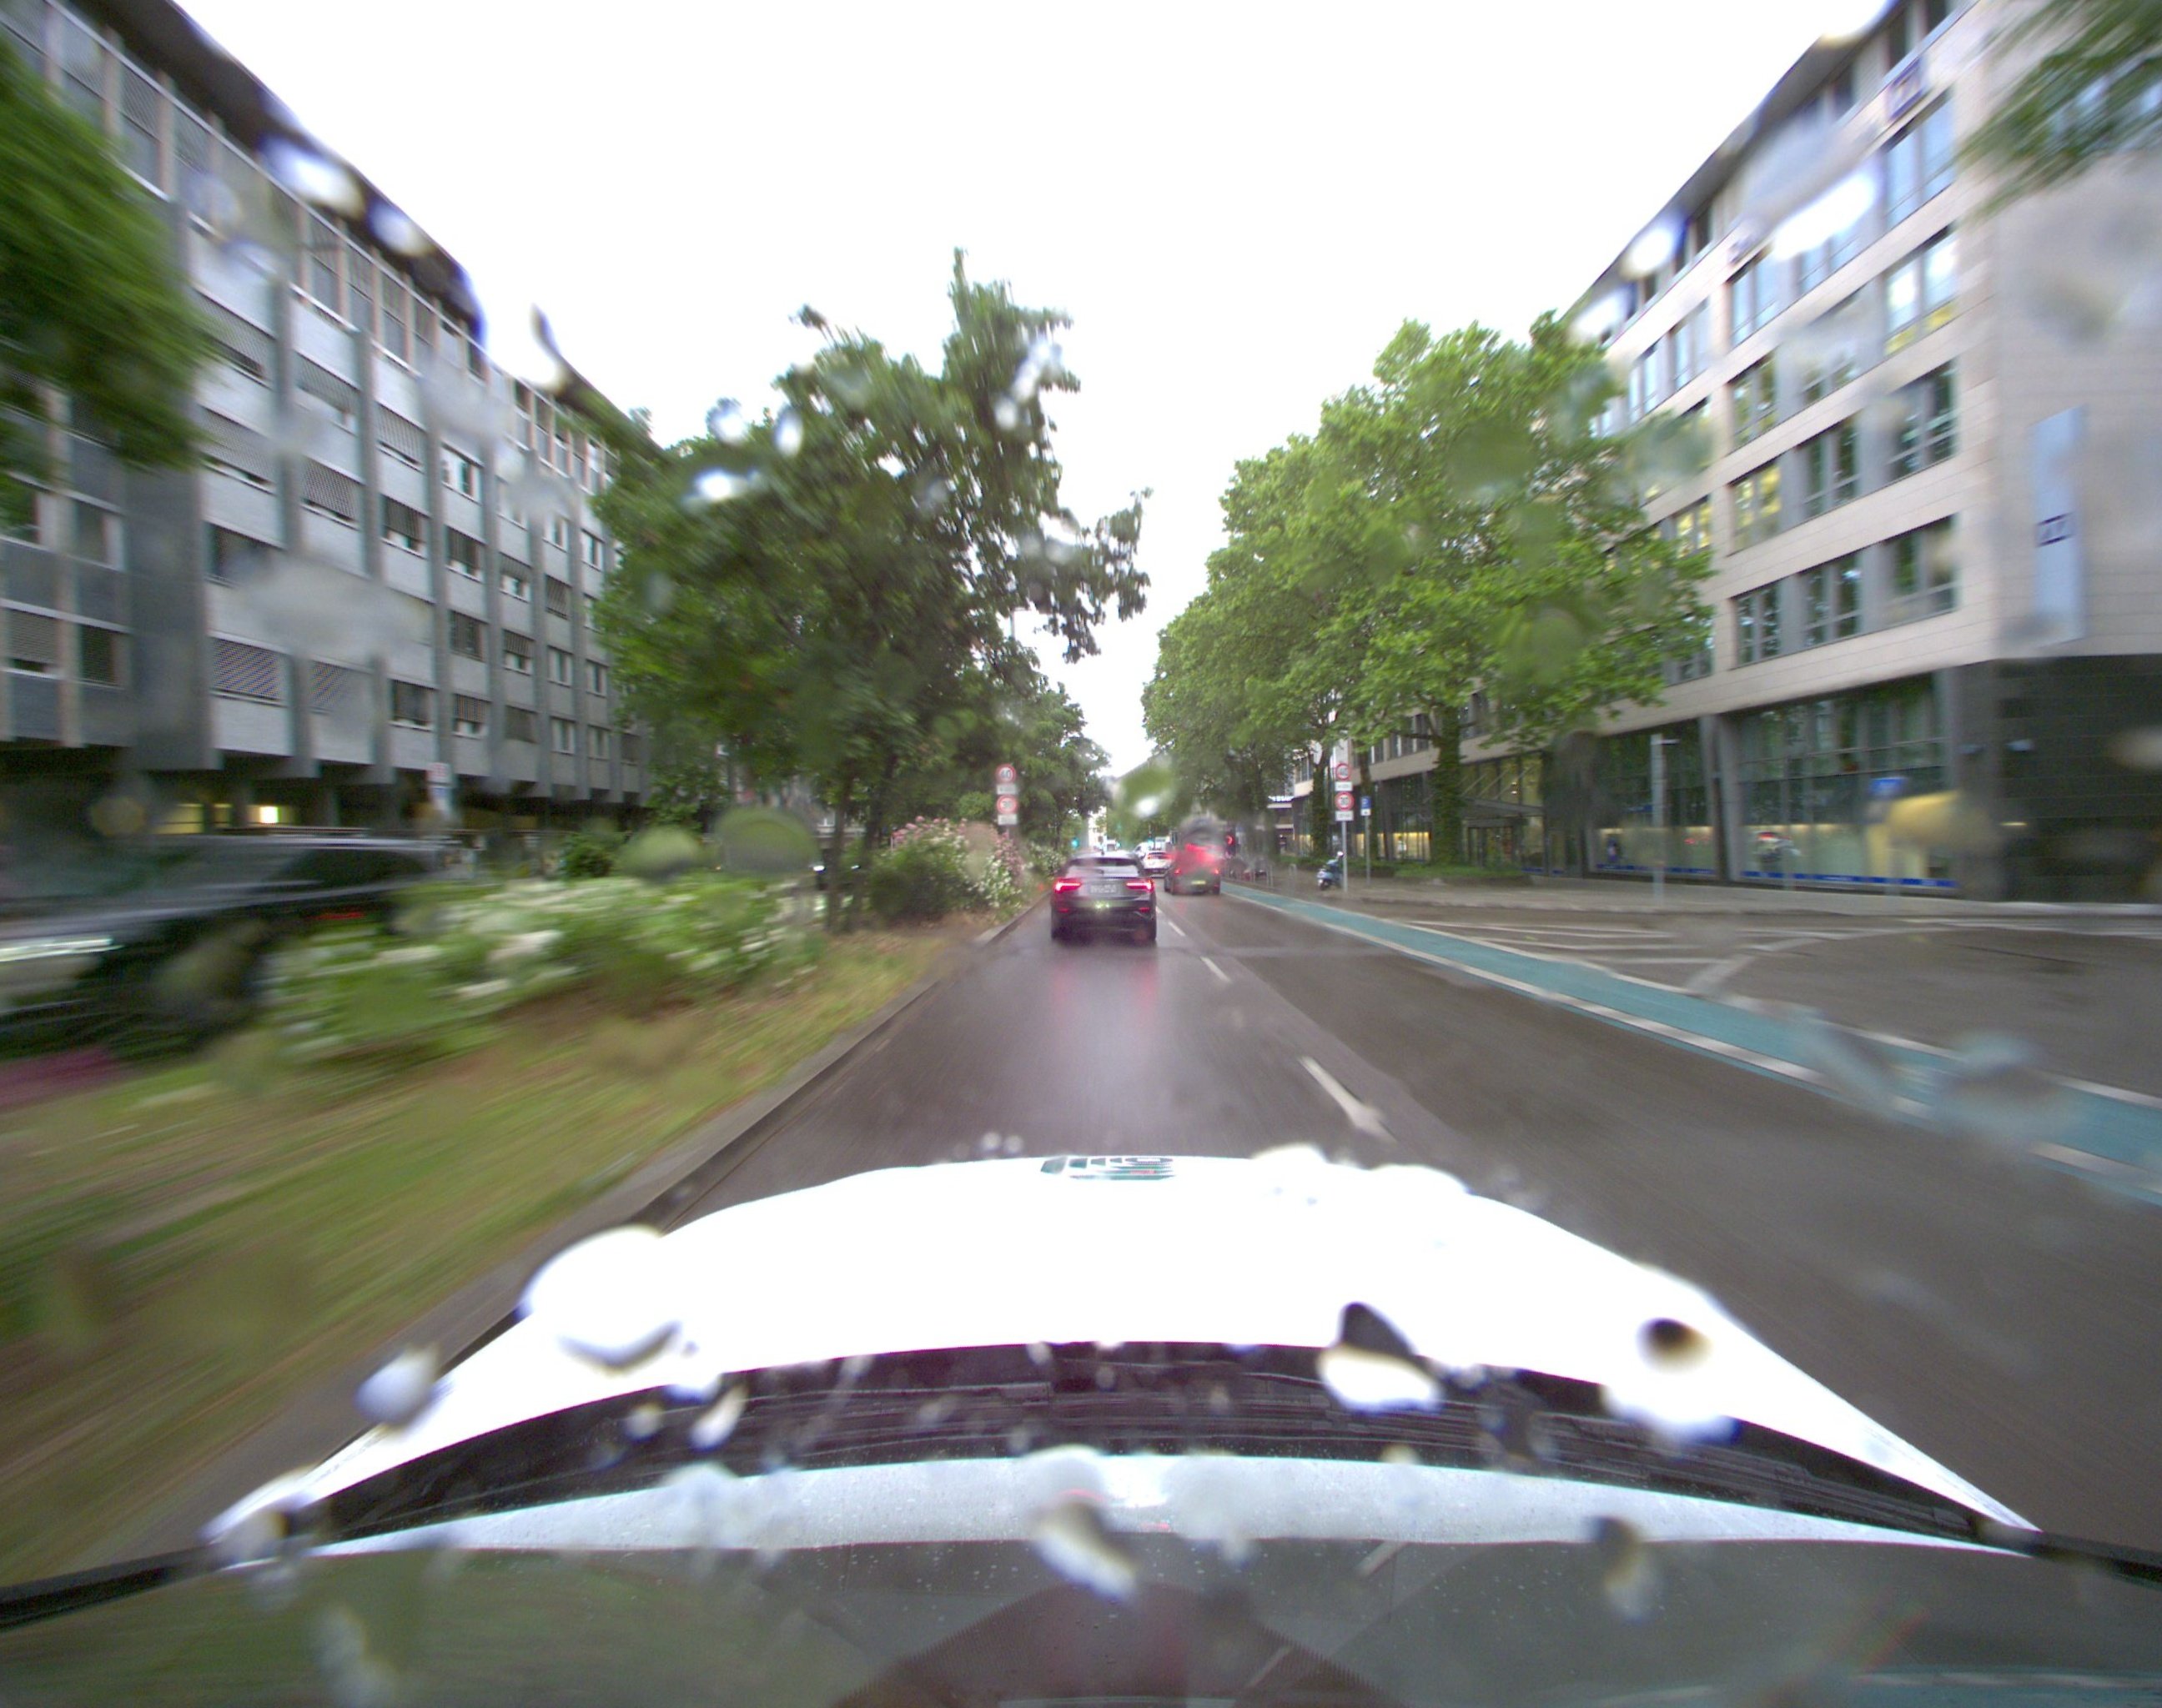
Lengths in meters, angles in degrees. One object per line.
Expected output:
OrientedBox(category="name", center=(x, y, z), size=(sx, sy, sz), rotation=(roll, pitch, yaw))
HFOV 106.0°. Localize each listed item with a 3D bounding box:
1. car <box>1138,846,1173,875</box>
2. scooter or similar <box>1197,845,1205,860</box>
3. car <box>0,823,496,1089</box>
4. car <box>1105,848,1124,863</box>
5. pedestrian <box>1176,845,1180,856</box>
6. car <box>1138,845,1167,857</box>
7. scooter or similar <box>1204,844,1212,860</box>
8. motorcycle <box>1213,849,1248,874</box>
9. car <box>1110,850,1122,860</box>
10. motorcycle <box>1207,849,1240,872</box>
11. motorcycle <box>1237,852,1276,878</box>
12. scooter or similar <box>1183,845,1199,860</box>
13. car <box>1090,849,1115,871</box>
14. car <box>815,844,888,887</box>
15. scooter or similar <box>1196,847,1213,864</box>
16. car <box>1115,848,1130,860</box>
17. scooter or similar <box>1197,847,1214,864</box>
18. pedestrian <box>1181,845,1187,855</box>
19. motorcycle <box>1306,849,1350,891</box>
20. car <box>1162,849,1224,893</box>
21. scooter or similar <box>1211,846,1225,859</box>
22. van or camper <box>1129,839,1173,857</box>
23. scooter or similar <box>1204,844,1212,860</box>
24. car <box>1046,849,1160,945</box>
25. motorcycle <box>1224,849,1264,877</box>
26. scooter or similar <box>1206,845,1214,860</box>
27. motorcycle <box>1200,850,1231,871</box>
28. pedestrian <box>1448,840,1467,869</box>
OrientedBox(category="car", center=(4.556, 0.357, 50.194), size=(1.843, 1.669, 4.039), rotation=(-1, 0, 1))
OrientedBox(category="scooter or similar", center=(10.854, -0.162, 73.451), size=(0.486, 1.259, 1.294), rotation=(-3, 2, 1))
OrientedBox(category="car", center=(-7.431, 0.632, 7.048), size=(1.716, 1.638, 4.016), rotation=(-1, 0, 2))
OrientedBox(category="car", center=(3.562, 0.159, 87.005), size=(1.843, 1.523, 4.039), rotation=(-1, 0, 1))
OrientedBox(category="pedestrian", center=(16.429, -0.624, 138.268), size=(0.551, 1.805, 0.761), rotation=(0, -1, -2))
OrientedBox(category="car", center=(9.991, -0.425, 113.796), size=(3.618, 1.547, 1.723), rotation=(-1, 0, 20))
OrientedBox(category="scooter or similar", center=(10.983, -0.186, 70.513), size=(0.486, 1.259, 1.294), rotation=(-3, 2, 1))
OrientedBox(category="motorcycle", center=(9.159, 0.466, 49.779), size=(1.962, 1.373, 0.724), rotation=(-3, 2, -21))
OrientedBox(category="car", center=(5.703, 0.118, 132.059), size=(1.843, 1.523, 4.039), rotation=(-1, 0, 1))
OrientedBox(category="motorcycle", center=(9.317, 0.429, 53.210), size=(1.962, 1.373, 0.724), rotation=(-3, 2, -21))
OrientedBox(category="motorcycle", center=(9.273, 0.573, 43.000), size=(2.069, 1.212, 0.677), rotation=(-4, 0, -35))
OrientedBox(category="scooter or similar", center=(9.831, -0.151, 72.914), size=(1.280, 1.259, 0.491), rotation=(-2, 2, 12))
OrientedBox(category="car", center=(1.600, 0.428, 60.961), size=(1.843, 1.523, 4.039), rotation=(-1, 0, 1))
OrientedBox(category="car", center=(-9.316, 0.448, 33.327), size=(1.716, 1.638, 4.016), rotation=(-1, 0, 2))
OrientedBox(category="scooter or similar", center=(9.990, 0.138, 66.022), size=(1.283, 1.278, 0.538), rotation=(-3, 2, 5))
OrientedBox(category="car", center=(5.450, 0.004, 106.577), size=(1.843, 1.523, 4.039), rotation=(-1, 0, 1))
OrientedBox(category="scooter or similar", center=(9.997, 0.134, 65.578), size=(1.283, 1.278, 0.538), rotation=(-3, 2, 5))
OrientedBox(category="pedestrian", center=(17.093, -0.662, 135.152), size=(0.803, 1.696, 1.187), rotation=(-1, 0, -2))
OrientedBox(category="motorcycle", center=(8.961, 0.553, 29.526), size=(0.676, 1.367, 1.958), rotation=(-5, -1, 41))
OrientedBox(category="car", center=(4.151, 0.590, 30.763), size=(1.843, 1.523, 4.039), rotation=(-1, 0, 1))
OrientedBox(category="scooter or similar", center=(12.442, -0.151, 74.093), size=(0.490, 1.198, 1.281), rotation=(-1, -1, -30))
OrientedBox(category="van or camper", center=(10.253, -0.897, 119.682), size=(6.008, 2.558, 2.117), rotation=(-1, 0, 27))
OrientedBox(category="scooter or similar", center=(10.983, -0.186, 70.513), size=(0.486, 1.259, 1.294), rotation=(-3, 2, 1))
OrientedBox(category="car", center=(0.374, 0.694, 15.323), size=(1.843, 1.523, 4.038), rotation=(-1, 0, 0))
OrientedBox(category="motorcycle", center=(9.105, 0.478, 45.385), size=(2.061, 1.428, 0.724), rotation=(-3, 2, -21))
OrientedBox(category="scooter or similar", center=(11.387, -0.180, 71.741), size=(0.486, 1.259, 1.294), rotation=(-3, 2, 1))
OrientedBox(category="motorcycle", center=(9.304, 0.455, 56.485), size=(1.959, 1.373, 0.725), rotation=(-3, 2, -16))
OrientedBox(category="pedestrian", center=(22.212, 0.016, 48.059), size=(0.720, 1.693, 0.833), rotation=(-2, 1, 44))
